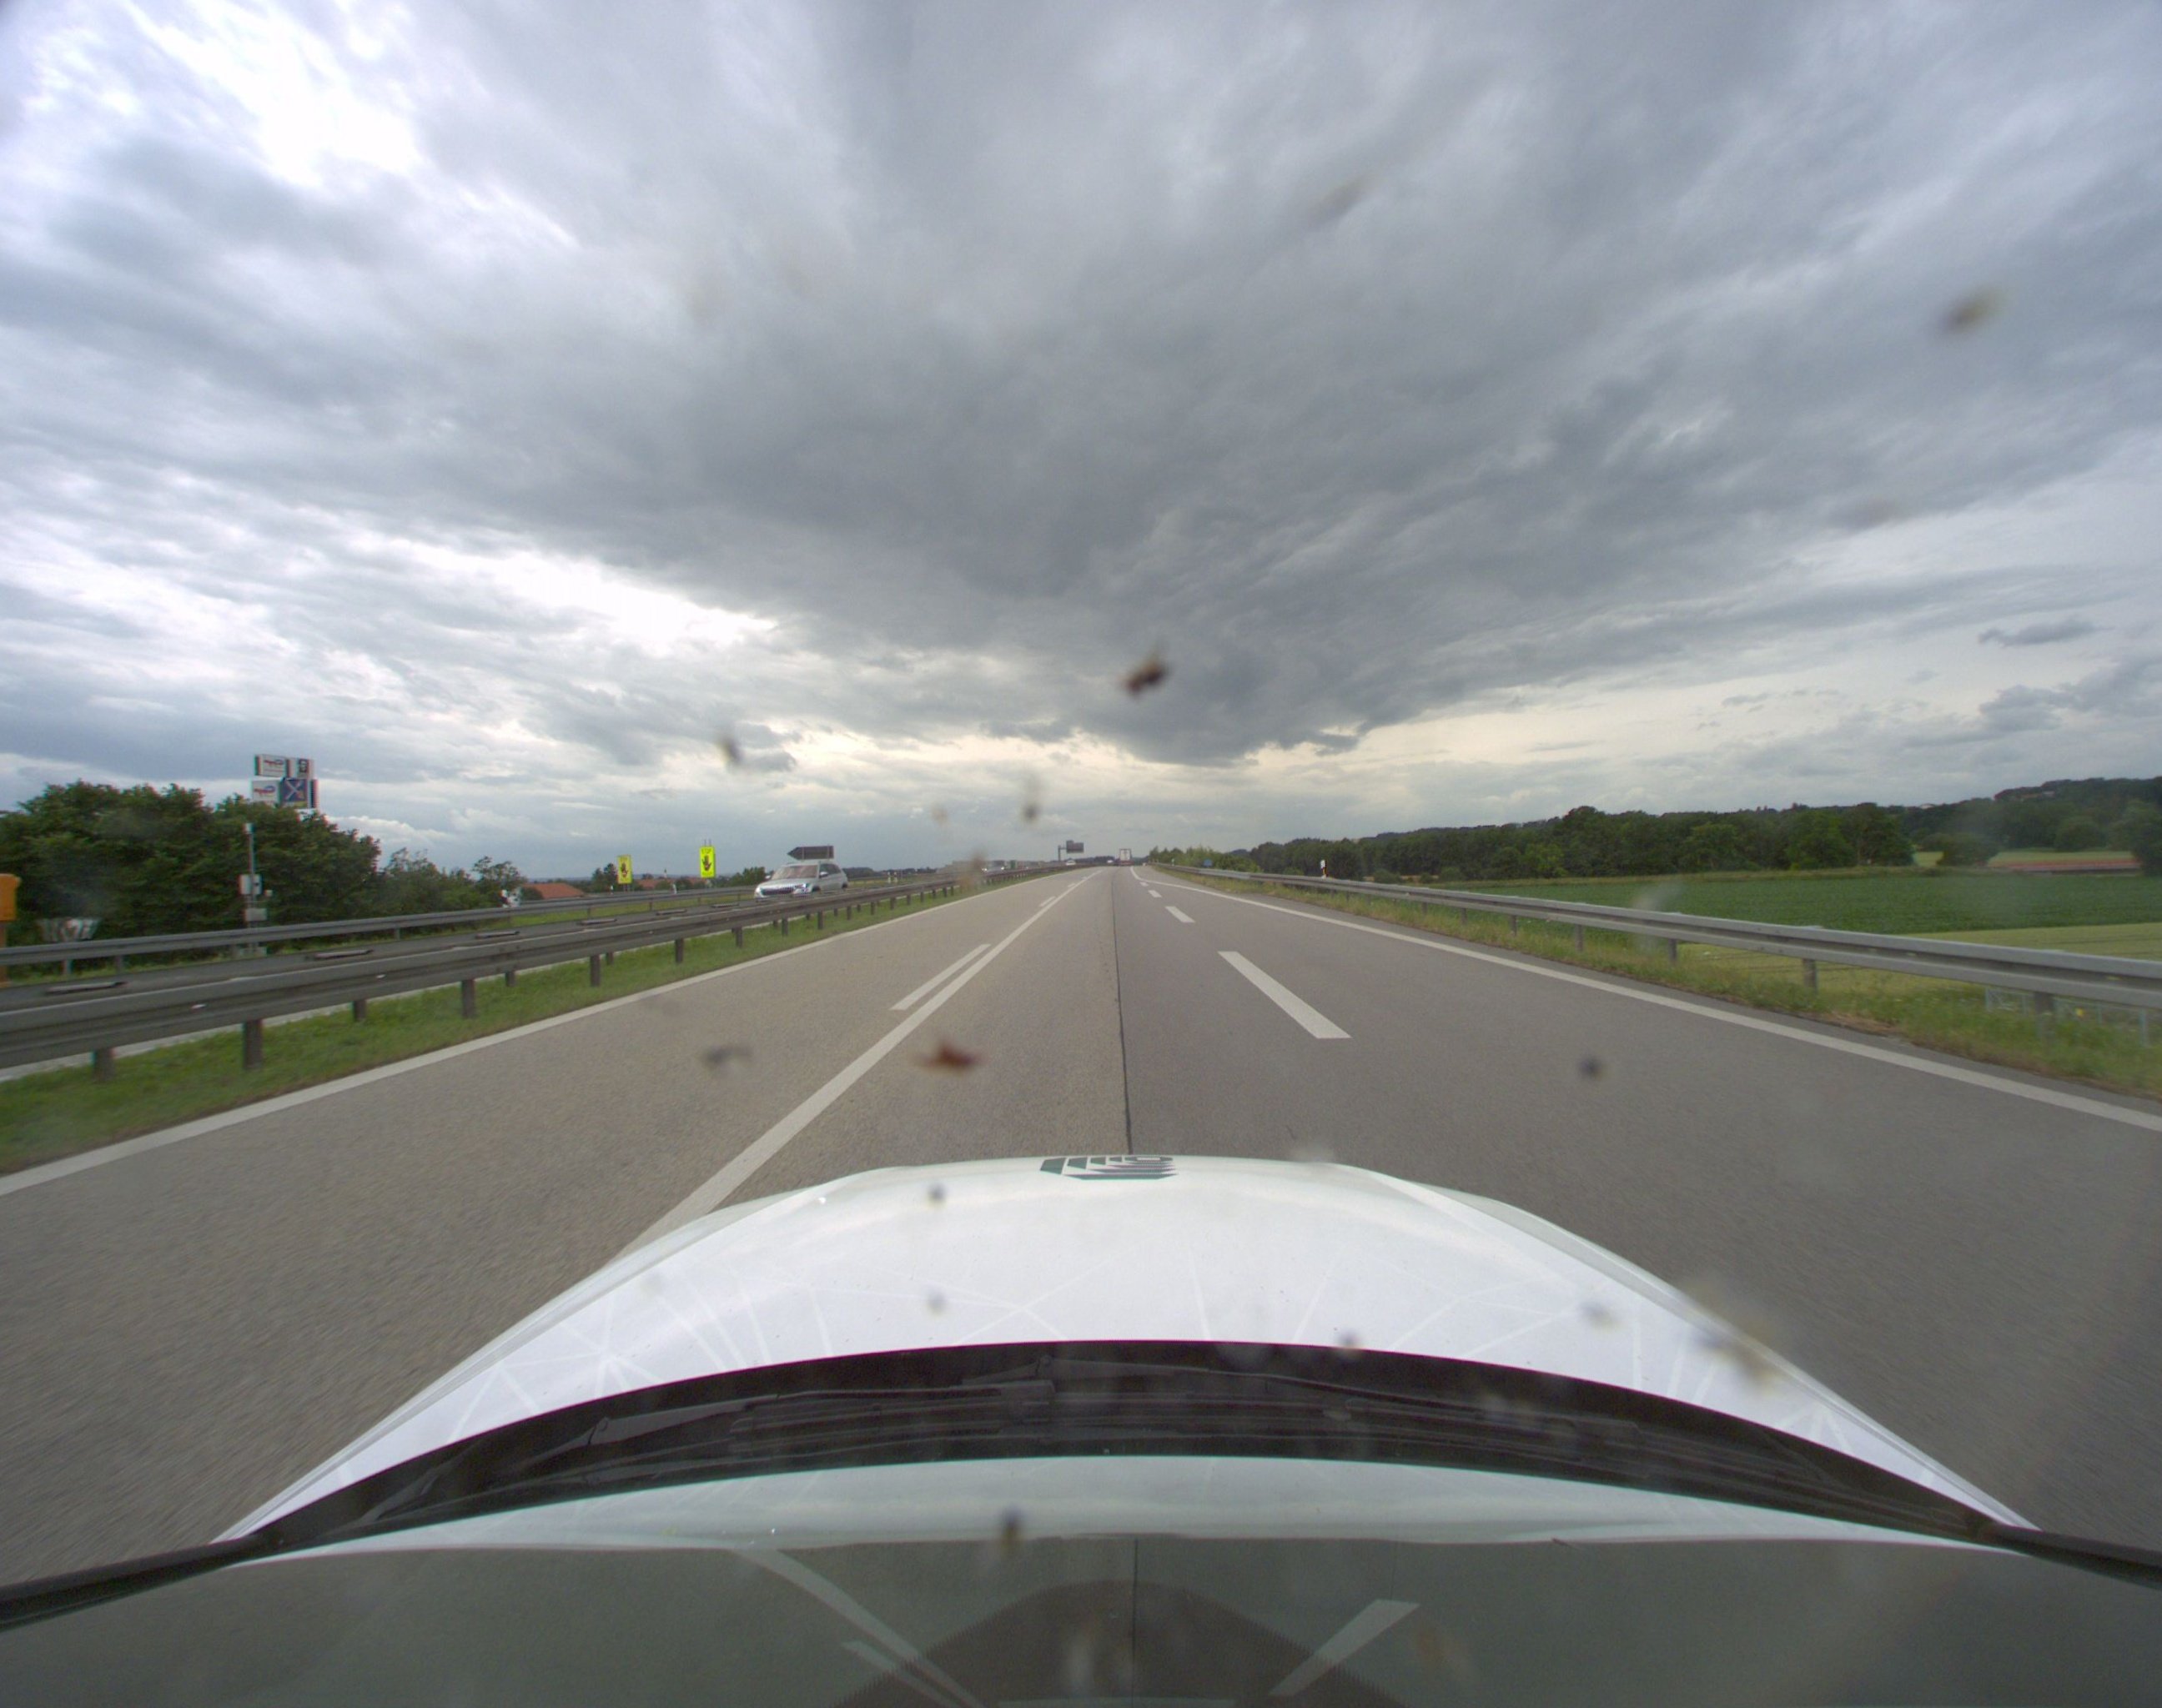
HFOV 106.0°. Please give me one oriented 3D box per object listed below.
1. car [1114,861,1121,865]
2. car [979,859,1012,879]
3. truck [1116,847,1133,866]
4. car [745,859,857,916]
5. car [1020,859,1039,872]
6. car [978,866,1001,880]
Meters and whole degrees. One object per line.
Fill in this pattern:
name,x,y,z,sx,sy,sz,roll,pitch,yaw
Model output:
car,11.130,2.768,249.487,1.986,1.420,4.001,-1,0,1
car,-7.440,1.278,71.487,2.128,1.588,5.001,-3,0,1
truck,10.839,0.716,200.877,3.656,4.413,16.358,-2,-2,4
car,-9.126,1.024,26.991,1.884,1.588,4.764,-3,0,1
car,-6.017,1.344,96.244,1.793,1.393,4.002,-3,0,2
car,-9.946,2.105,88.769,1.793,1.393,4.002,0,0,2
